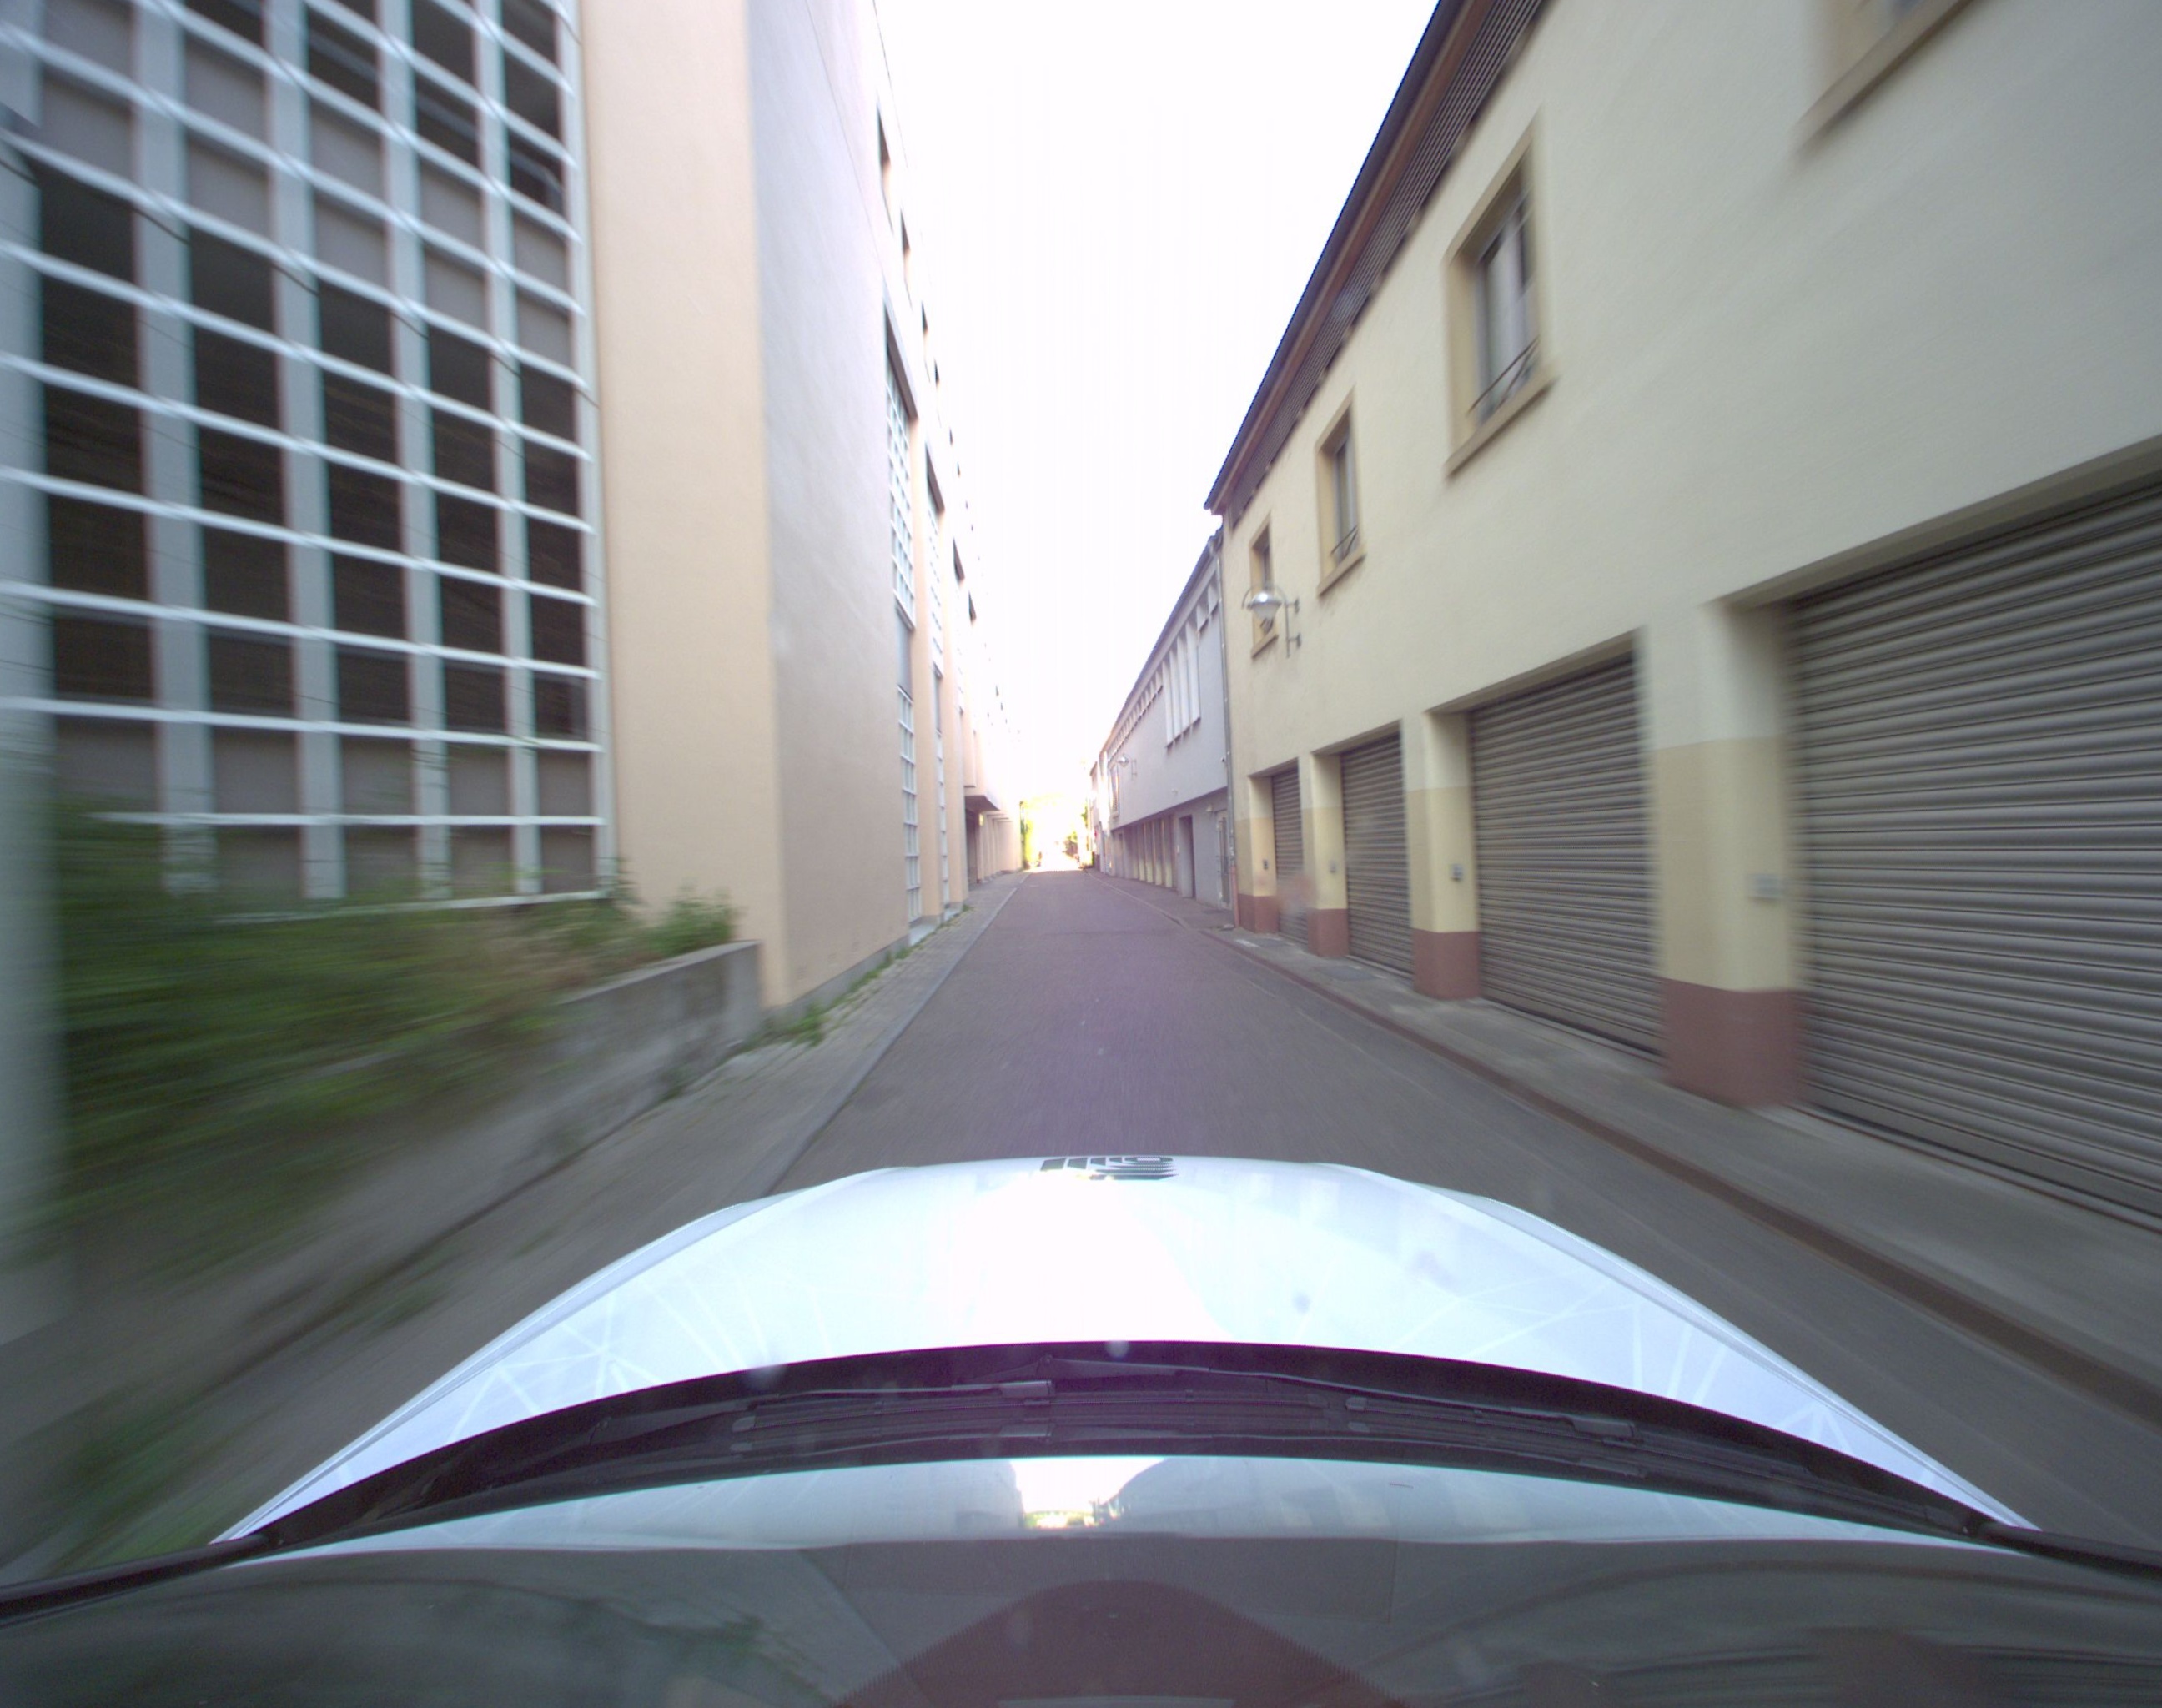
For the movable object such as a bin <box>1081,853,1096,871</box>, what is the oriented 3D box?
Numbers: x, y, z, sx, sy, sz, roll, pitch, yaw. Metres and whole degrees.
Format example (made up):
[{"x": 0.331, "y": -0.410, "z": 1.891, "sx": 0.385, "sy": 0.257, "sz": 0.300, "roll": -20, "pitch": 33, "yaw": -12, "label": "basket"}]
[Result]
[{"x": 0.571, "y": 0.656, "z": 65.033, "sx": 0.937, "sy": 1.366, "sz": 1.338, "roll": -5, "pitch": 0, "yaw": -8, "label": "movable object such as a bin"}]

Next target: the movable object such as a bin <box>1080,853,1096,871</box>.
[{"x": 0.553, "y": 0.667, "z": 66.437, "sx": 1.062, "sy": 1.366, "sz": 1.340, "roll": -5, "pitch": 0, "yaw": -4, "label": "movable object such as a bin"}]

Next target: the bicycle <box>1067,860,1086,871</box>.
[{"x": -0.493, "y": 1.219, "z": 86.013, "sx": 1.982, "sy": 1.112, "sz": 0.734, "roll": -1, "pitch": 0, "yaw": -7, "label": "bicycle"}]

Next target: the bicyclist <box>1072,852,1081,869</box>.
[{"x": -0.502, "y": 0.703, "z": 86.015, "sx": 0.879, "sy": 1.785, "sz": 0.734, "roll": -1, "pitch": 0, "yaw": -7, "label": "bicyclist"}]
